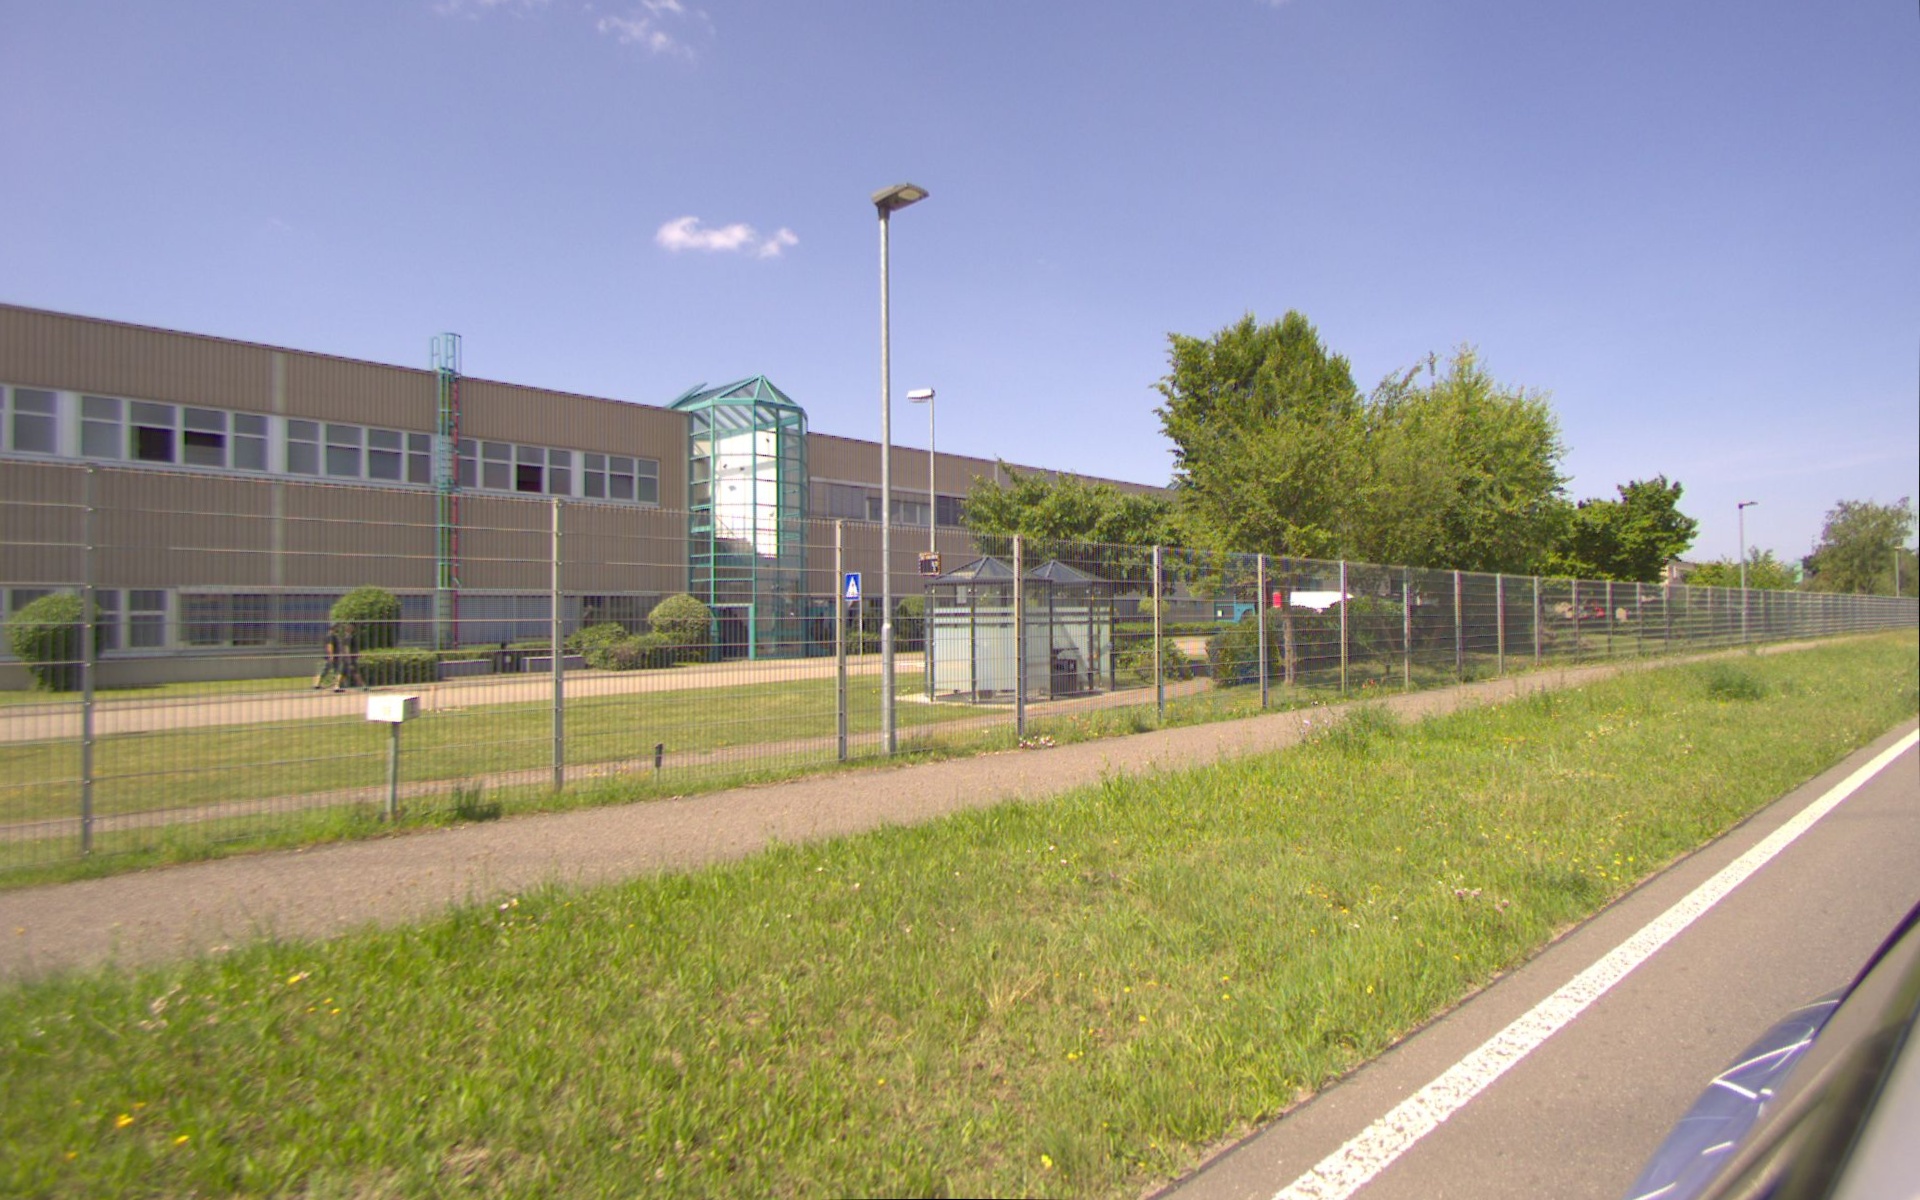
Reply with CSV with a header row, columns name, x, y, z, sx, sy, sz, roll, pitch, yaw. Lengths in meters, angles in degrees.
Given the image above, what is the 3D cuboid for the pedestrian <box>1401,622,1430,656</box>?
name,x,y,z,sx,sy,sz,roll,pitch,yaw
pedestrian,12.637,1.080,28.075,0.662,0.905,0.505,-2,-2,34

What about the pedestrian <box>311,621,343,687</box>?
name,x,y,z,sx,sy,sz,roll,pitch,yaw
pedestrian,-16.907,1.425,27.043,0.652,1.738,0.486,1,-2,-44

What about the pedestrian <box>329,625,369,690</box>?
name,x,y,z,sx,sy,sz,roll,pitch,yaw
pedestrian,-16.147,1.507,26.745,0.822,1.691,0.548,0,-2,-42

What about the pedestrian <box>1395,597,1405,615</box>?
name,x,y,z,sx,sy,sz,roll,pitch,yaw
pedestrian,36.430,0.504,83.762,0.514,1.409,0.718,-2,-2,44

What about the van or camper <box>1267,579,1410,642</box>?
name,x,y,z,sx,sy,sz,roll,pitch,yaw
van or camper,17.436,0.548,46.895,5.766,2.551,1.969,-5,-4,43
